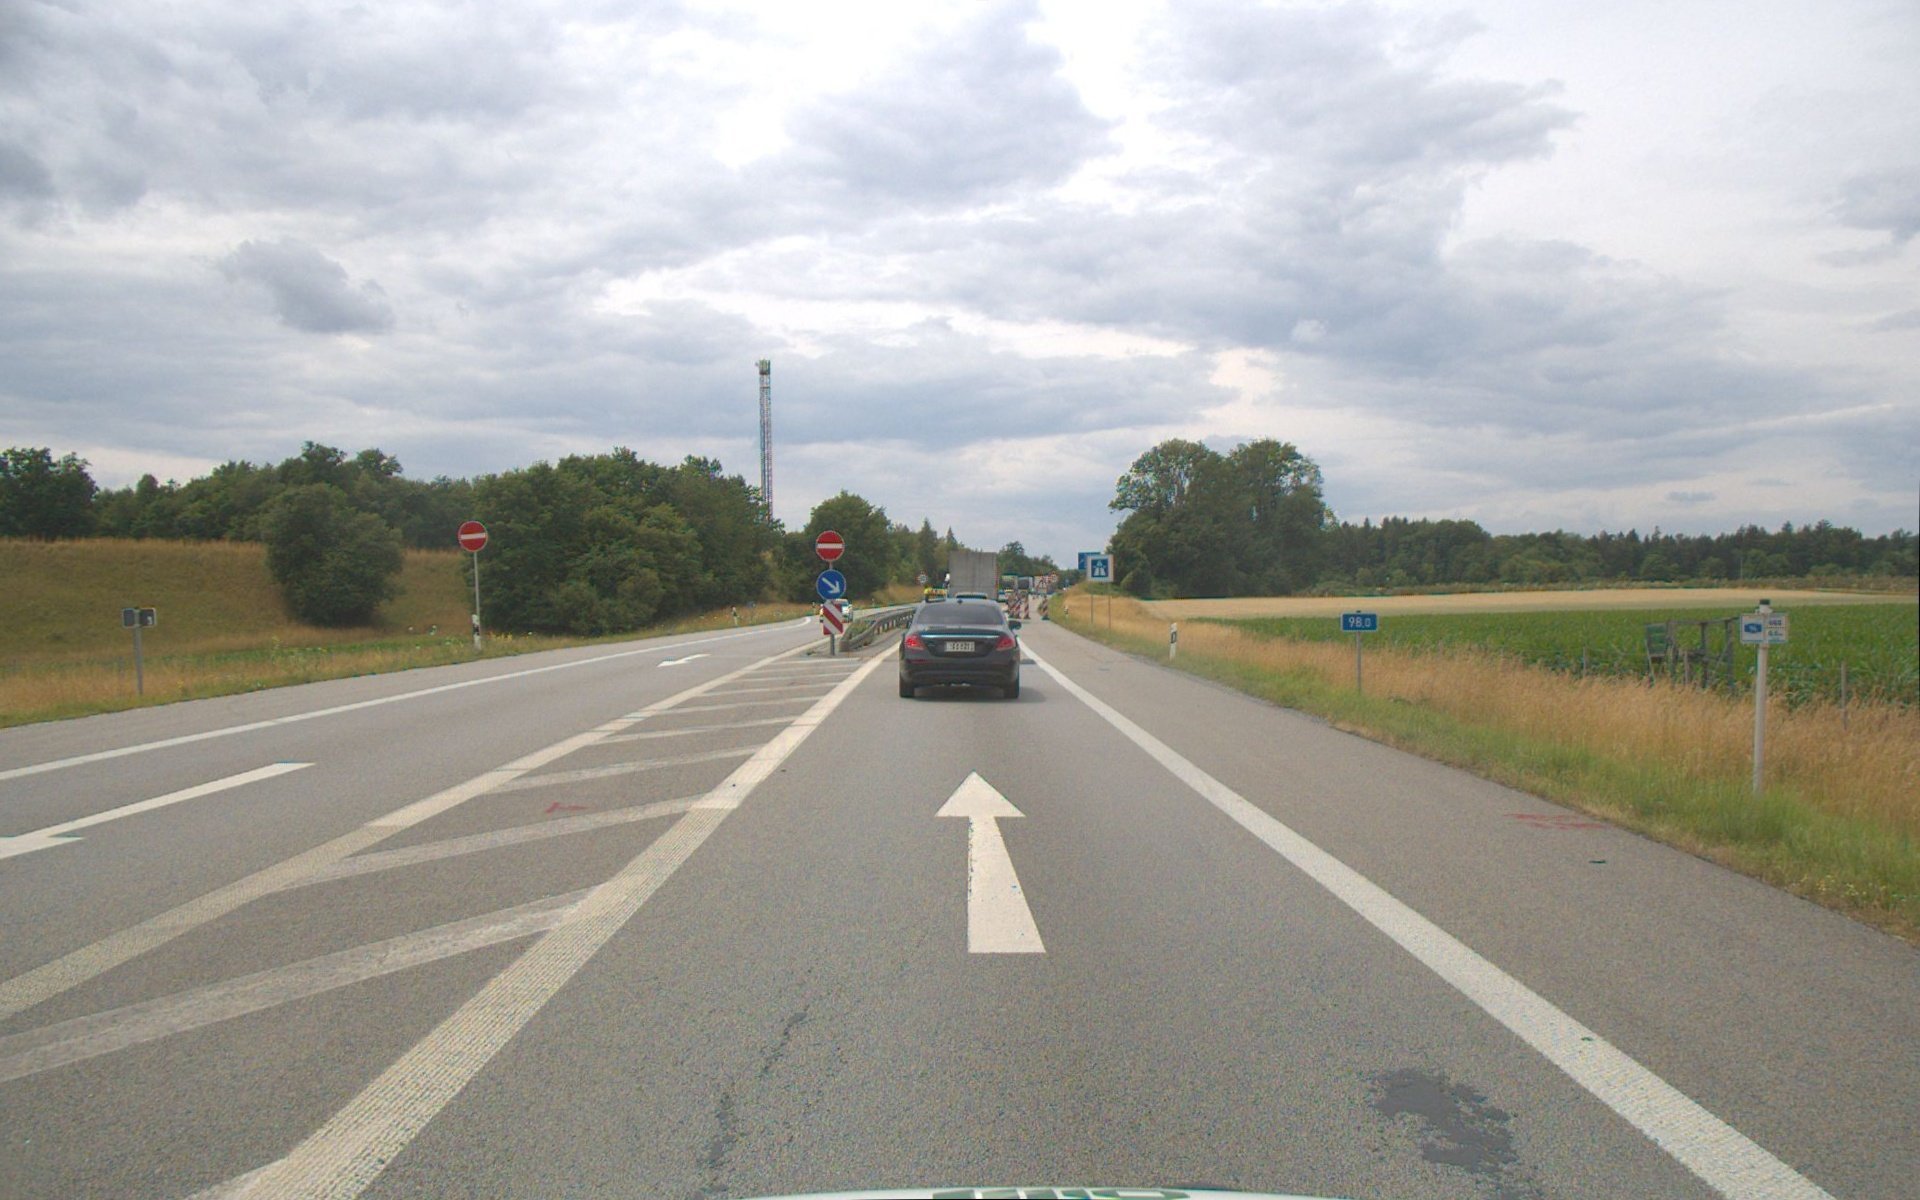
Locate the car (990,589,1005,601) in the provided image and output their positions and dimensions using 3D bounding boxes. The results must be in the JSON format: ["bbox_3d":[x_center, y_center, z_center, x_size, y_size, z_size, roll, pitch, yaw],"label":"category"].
[{"bbox_3d":[4.669,-0.632,204.673,1.616,1.420,3.704,1,0,-2],"label":"car"}]

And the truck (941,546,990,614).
[{"bbox_3d":[0.322,-1.038,90.438,2.533,3.586,4.813,1,0,1],"label":"truck"}]

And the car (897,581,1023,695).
[{"bbox_3d":[0.010,0.547,25.463,1.759,1.587,4.000,1,0,0],"label":"car"}]

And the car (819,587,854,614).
[{"bbox_3d":[-7.672,0.041,102.892,1.780,1.661,4.602,1,0,0],"label":"car"}]

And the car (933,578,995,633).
[{"bbox_3d":[0.117,0.205,63.893,1.955,2.049,3.994,1,0,-7],"label":"car"}]
